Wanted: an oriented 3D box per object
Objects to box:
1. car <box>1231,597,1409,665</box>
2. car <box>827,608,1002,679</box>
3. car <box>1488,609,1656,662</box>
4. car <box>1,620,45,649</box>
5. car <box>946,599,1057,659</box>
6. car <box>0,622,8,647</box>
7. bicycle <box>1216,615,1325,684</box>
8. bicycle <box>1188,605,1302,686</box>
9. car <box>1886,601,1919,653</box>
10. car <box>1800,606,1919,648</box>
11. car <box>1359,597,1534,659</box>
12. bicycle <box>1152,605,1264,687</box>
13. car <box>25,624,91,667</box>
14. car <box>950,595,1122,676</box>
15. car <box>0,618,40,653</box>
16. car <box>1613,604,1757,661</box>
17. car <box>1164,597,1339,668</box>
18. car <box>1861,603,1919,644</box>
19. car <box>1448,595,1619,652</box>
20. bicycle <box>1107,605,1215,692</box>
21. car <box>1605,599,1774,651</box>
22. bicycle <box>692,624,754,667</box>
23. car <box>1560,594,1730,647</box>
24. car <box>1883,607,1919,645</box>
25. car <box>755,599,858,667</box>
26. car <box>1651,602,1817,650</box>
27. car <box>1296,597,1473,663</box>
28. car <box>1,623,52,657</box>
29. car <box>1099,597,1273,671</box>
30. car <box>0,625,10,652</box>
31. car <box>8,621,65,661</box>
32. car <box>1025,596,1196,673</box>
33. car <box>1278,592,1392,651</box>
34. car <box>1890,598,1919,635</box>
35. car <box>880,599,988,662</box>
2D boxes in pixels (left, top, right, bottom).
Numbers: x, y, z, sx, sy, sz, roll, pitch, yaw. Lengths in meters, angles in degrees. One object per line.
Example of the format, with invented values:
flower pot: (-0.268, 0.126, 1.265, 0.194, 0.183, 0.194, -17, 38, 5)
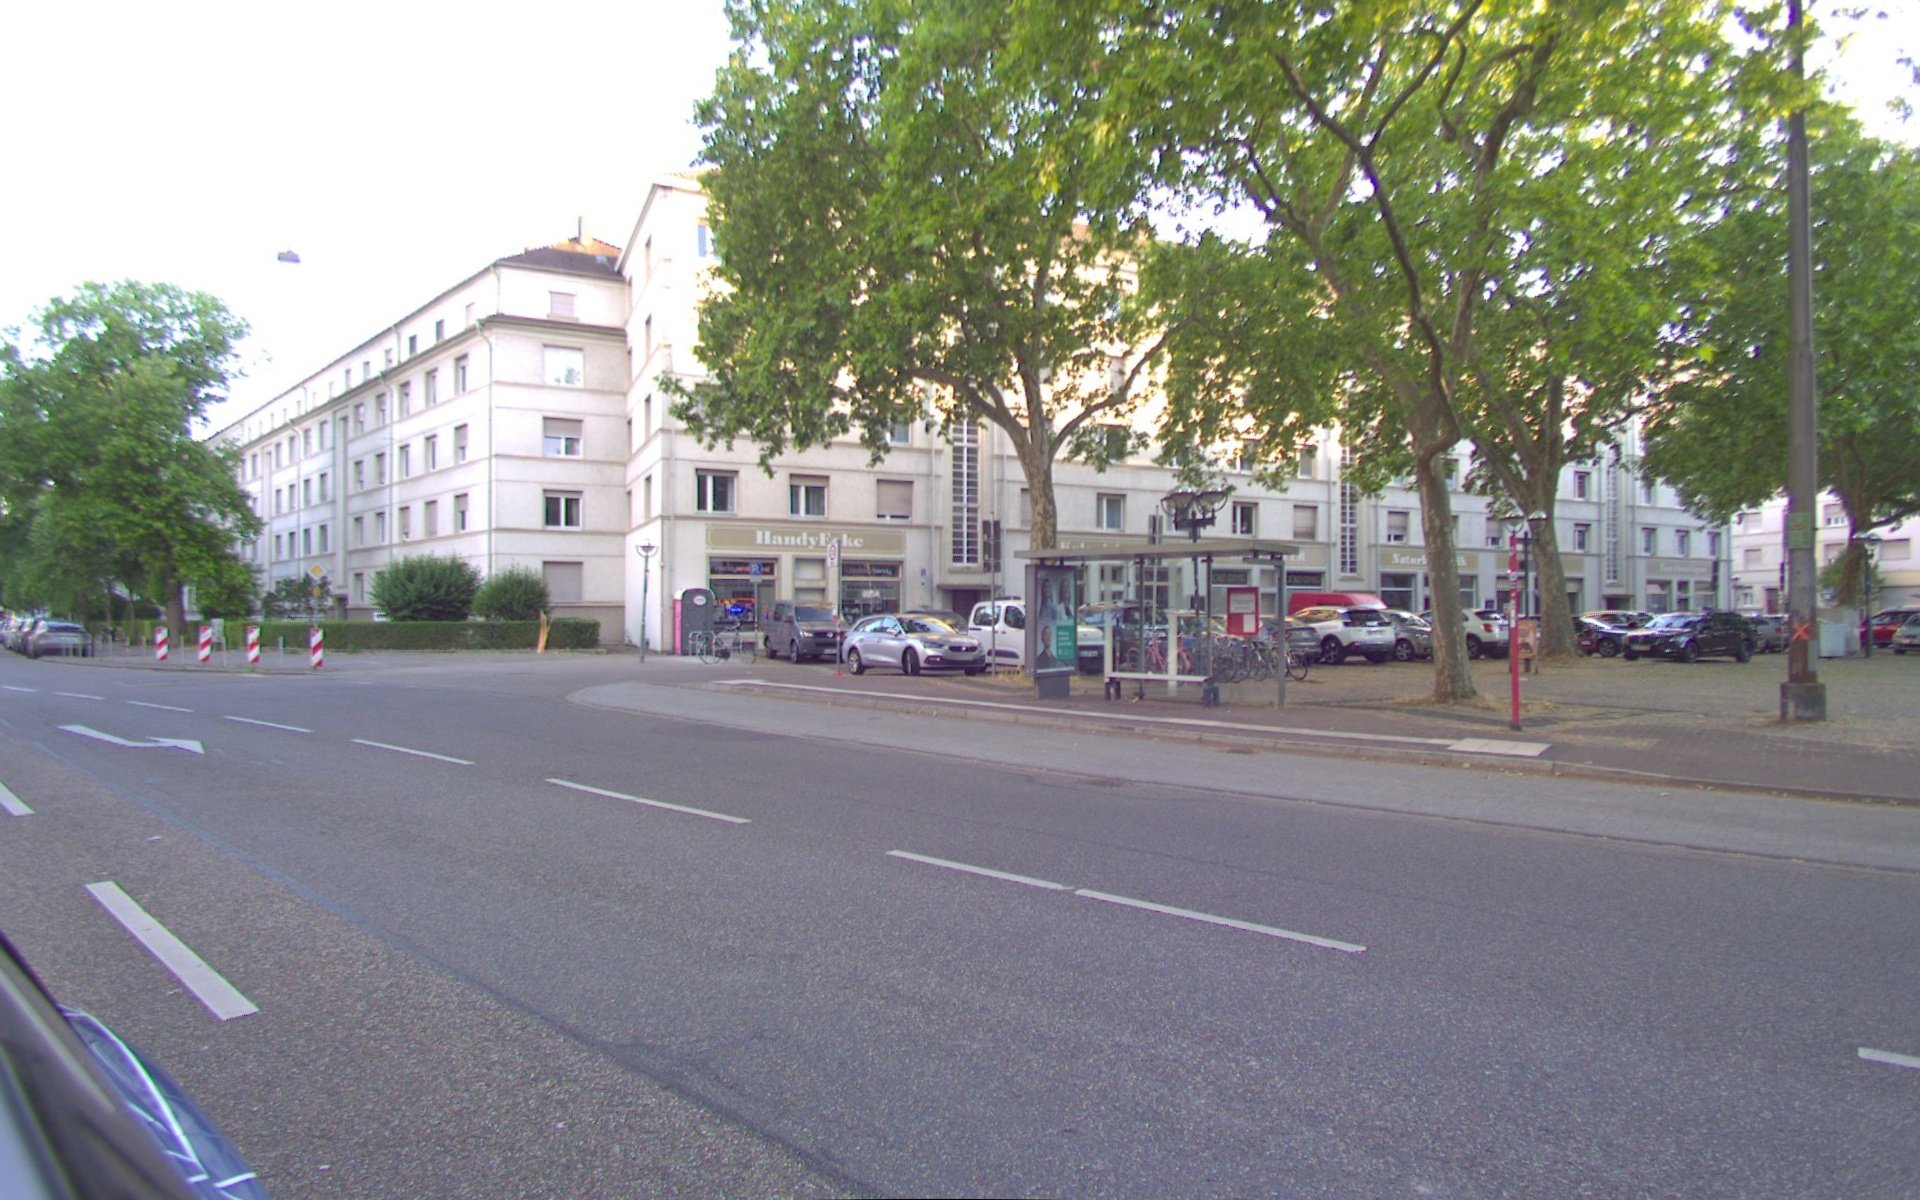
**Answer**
car: (10.207, 0.932, 29.082, 1.965, 1.795, 4.655, 1, -3, -28)
car: (-1.192, 1.040, 23.881, 1.967, 1.515, 4.652, 2, -3, -35)
car: (21.365, 1.279, 35.560, 1.965, 1.748, 4.655, 1, -3, -28)
car: (-56.486, 2.035, 60.973, 1.866, 1.612, 4.263, -1, 0, -44)
car: (1.419, 0.987, 36.590, 1.965, 1.970, 4.656, 1, 0, -26)
car: (-76.317, 2.695, 79.729, 1.866, 1.879, 4.263, -1, 0, -44)
bicycle: (6.887, 1.058, 22.664, 0.680, 1.394, 2.754, 0, 0, -24)
bicycle: (6.176, 0.938, 22.150, 0.795, 1.626, 2.754, 0, 0, -24)
car: (33.074, 0.881, 33.879, 3.696, 1.674, 1.680, -1, 0, -23)
car: (40.632, 1.234, 45.091, 1.969, 1.748, 4.648, 2, -4, -40)
car: (15.173, 0.926, 31.867, 1.965, 1.795, 4.655, 1, -3, -28)
bicycle: (5.237, 0.920, 21.634, 0.795, 1.626, 2.754, 0, 0, -24)
car: (-37.300, 1.831, 41.807, 1.867, 1.612, 4.003, -1, 0, -44)
car: (1.722, 0.905, 24.751, 1.965, 1.795, 4.655, 1, -3, -28)
car: (-52.881, 1.961, 56.689, 1.866, 1.787, 4.263, -1, 0, -44)
car: (20.752, 0.911, 28.973, 3.696, 1.540, 1.680, 1, 0, -23)
car: (7.976, 0.946, 28.197, 1.965, 1.795, 4.655, 1, -3, -28)
car: (43.640, 1.045, 45.265, 1.968, 1.824, 4.658, 2, -4, -38)
car: (19.182, 0.851, 34.101, 1.965, 1.795, 4.655, 1, -3, -28)
bicycle: (4.059, 0.932, 20.706, 0.680, 1.626, 2.754, 0, 0, -24)
car: (27.082, 1.000, 37.758, 1.965, 1.795, 4.655, 1, -3, -28)
bicycle: (-7.169, 1.370, 30.649, 1.776, 1.215, 0.649, 0, 0, -16)
car: (24.740, 0.804, 36.744, 2.057, 1.795, 4.655, 1, -3, -28)
car: (45.724, 1.202, 46.501, 1.969, 1.748, 4.648, 2, -4, -40)
car: (-5.090, 1.012, 33.060, 1.965, 1.970, 4.656, 1, 0, -26)
car: (29.815, 1.069, 39.144, 1.965, 1.748, 4.655, 1, -3, -28)
car: (12.602, 0.946, 30.366, 1.965, 1.795, 4.655, 1, -3, -28)
car: (-48.542, 2.041, 52.608, 1.866, 1.612, 4.263, -1, 0, -44)
car: (5.922, 0.947, 27.114, 1.965, 1.795, 4.655, 1, -3, -28)
car: (-69.972, 2.811, 73.155, 1.866, 1.840, 4.263, -1, 0, -44)
car: (-43.348, 1.869, 47.470, 1.866, 1.703, 4.263, -1, 0, -44)
car: (3.766, 0.924, 26.209, 1.965, 1.795, 4.655, 1, -3, -28)
car: (16.648, 0.930, 45.175, 1.965, 2.460, 4.656, 1, 0, -26)
car: (47.596, 0.739, 48.157, 1.969, 1.748, 4.648, 2, -4, -40)
car: (-0.990, 1.011, 35.406, 1.965, 1.970, 4.656, 1, 0, -26)
